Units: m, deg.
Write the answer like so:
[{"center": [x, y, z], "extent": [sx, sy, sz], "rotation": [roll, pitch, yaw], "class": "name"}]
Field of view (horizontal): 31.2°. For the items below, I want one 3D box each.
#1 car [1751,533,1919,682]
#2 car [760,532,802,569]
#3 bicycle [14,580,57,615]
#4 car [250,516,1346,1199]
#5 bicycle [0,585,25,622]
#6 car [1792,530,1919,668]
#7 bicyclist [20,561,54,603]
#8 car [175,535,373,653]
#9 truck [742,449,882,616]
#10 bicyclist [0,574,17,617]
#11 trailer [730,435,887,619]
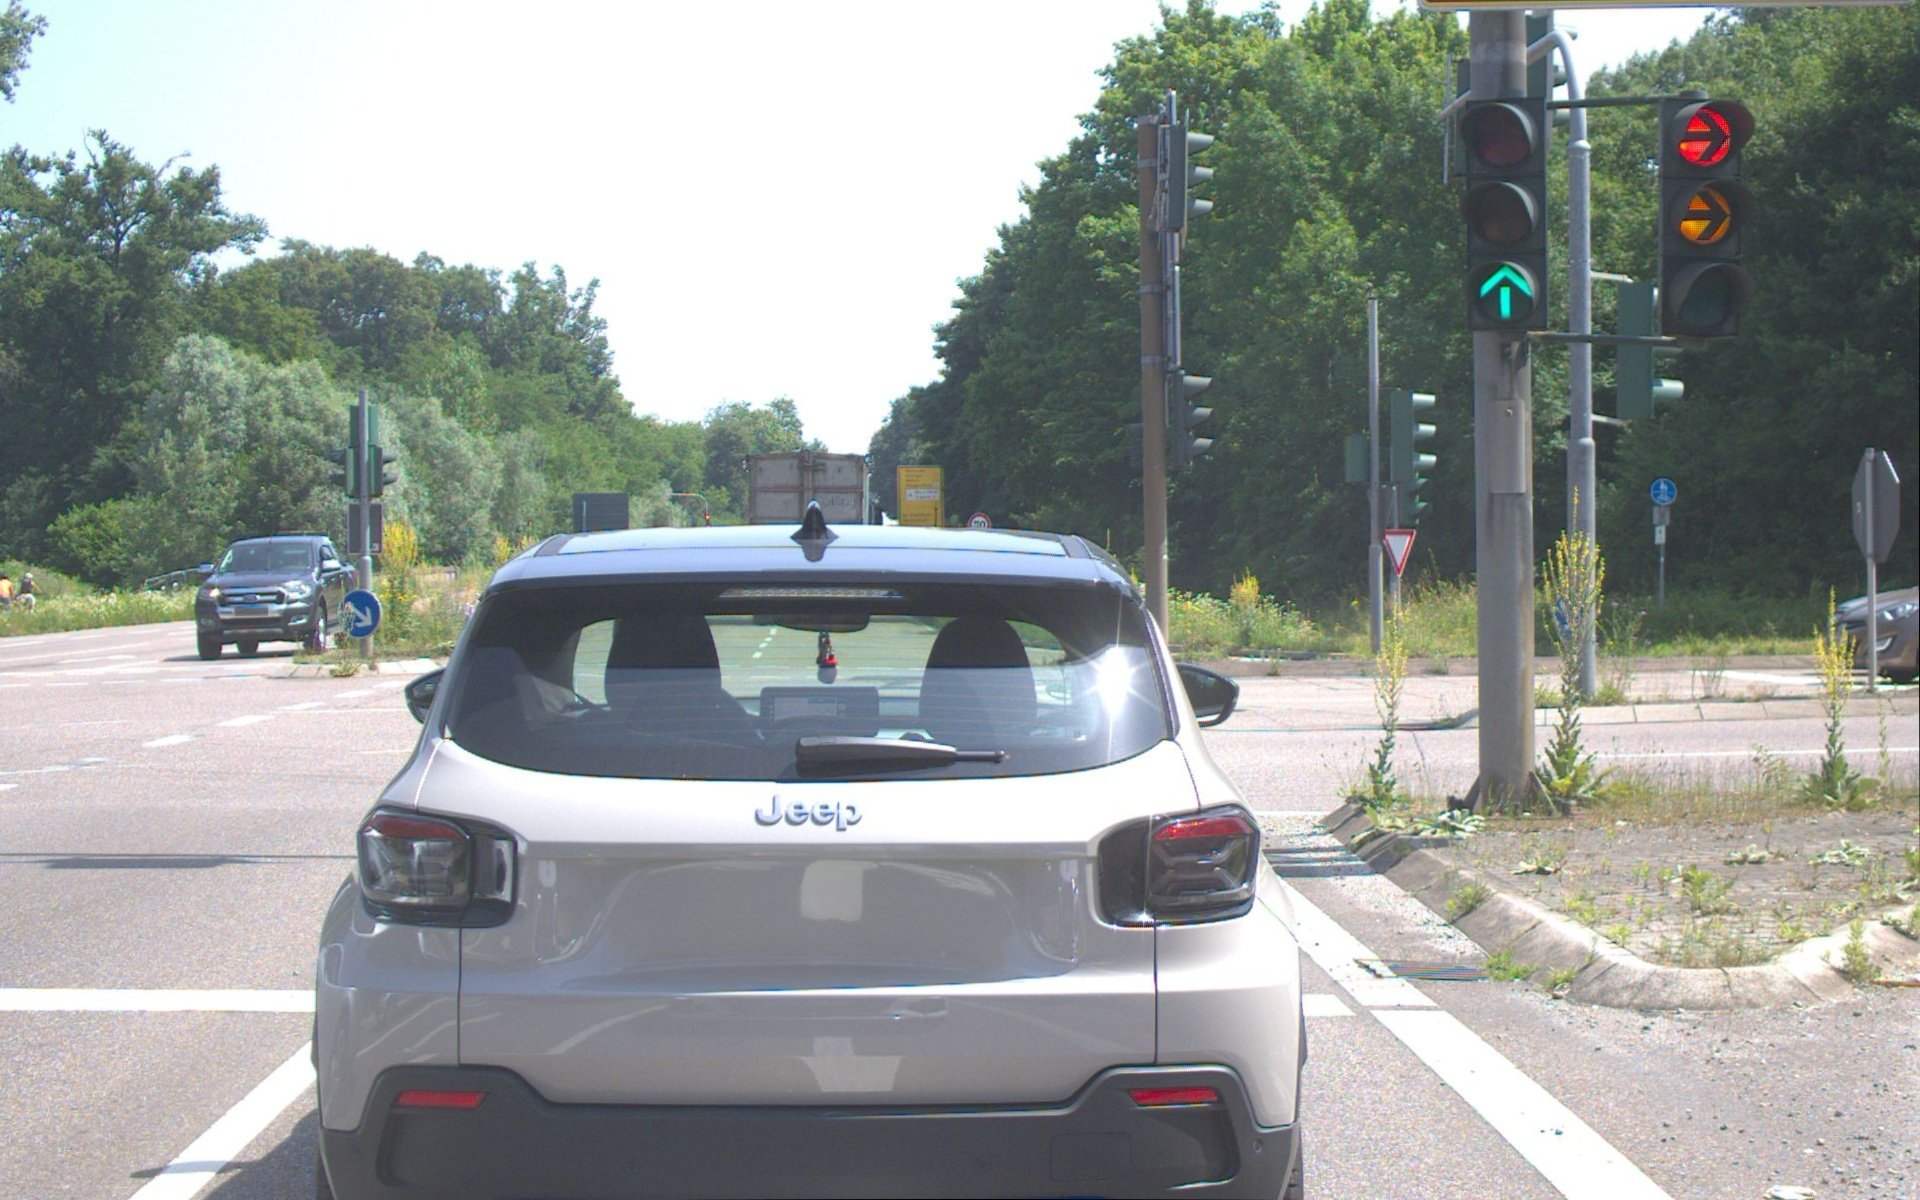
[{"center": [10.383, 0.027, 35.069], "extent": [4.091, 1.442, 1.996], "rotation": [-1, 1, -3], "class": "car"}, {"center": [-9.845, -2.743, 189.443], "extent": [1.993, 2.007, 4.554], "rotation": [-1, 1, 1], "class": "car"}, {"center": [-26.919, -0.082, 100.123], "extent": [0.604, 1.002, 1.555], "rotation": [-2, 0, 10], "class": "bicycle"}, {"center": [-0.284, 0.599, 7.554], "extent": [1.767, 1.529, 4.000], "rotation": [0, 1, -1], "class": "car"}, {"center": [-26.931, 0.108, 96.398], "extent": [0.676, 1.001, 1.800], "rotation": [-2, 1, 8], "class": "bicycle"}, {"center": [12.089, -0.037, 38.684], "extent": [4.932, 1.493, 2.020], "rotation": [-1, 0, 0], "class": "car"}, {"center": [-26.895, -0.517, 100.145], "extent": [0.735, 1.191, 0.592], "rotation": [-2, 0, 10], "class": "bicyclist"}, {"center": [-10.530, -0.133, 53.180], "extent": [1.993, 1.672, 5.366], "rotation": [-2, 1, -1], "class": "car"}, {"center": [-3.676, -1.659, 86.403], "extent": [3.332, 3.975, 6.534], "rotation": [1, 0, -2], "class": "truck"}, {"center": [-26.940, -0.117, 96.376], "extent": [0.757, 1.191, 0.592], "rotation": [-2, 1, 9], "class": "bicyclist"}, {"center": [-3.475, -1.643, 80.581], "extent": [3.382, 3.975, 10.805], "rotation": [1, 0, -2], "class": "trailer"}]
